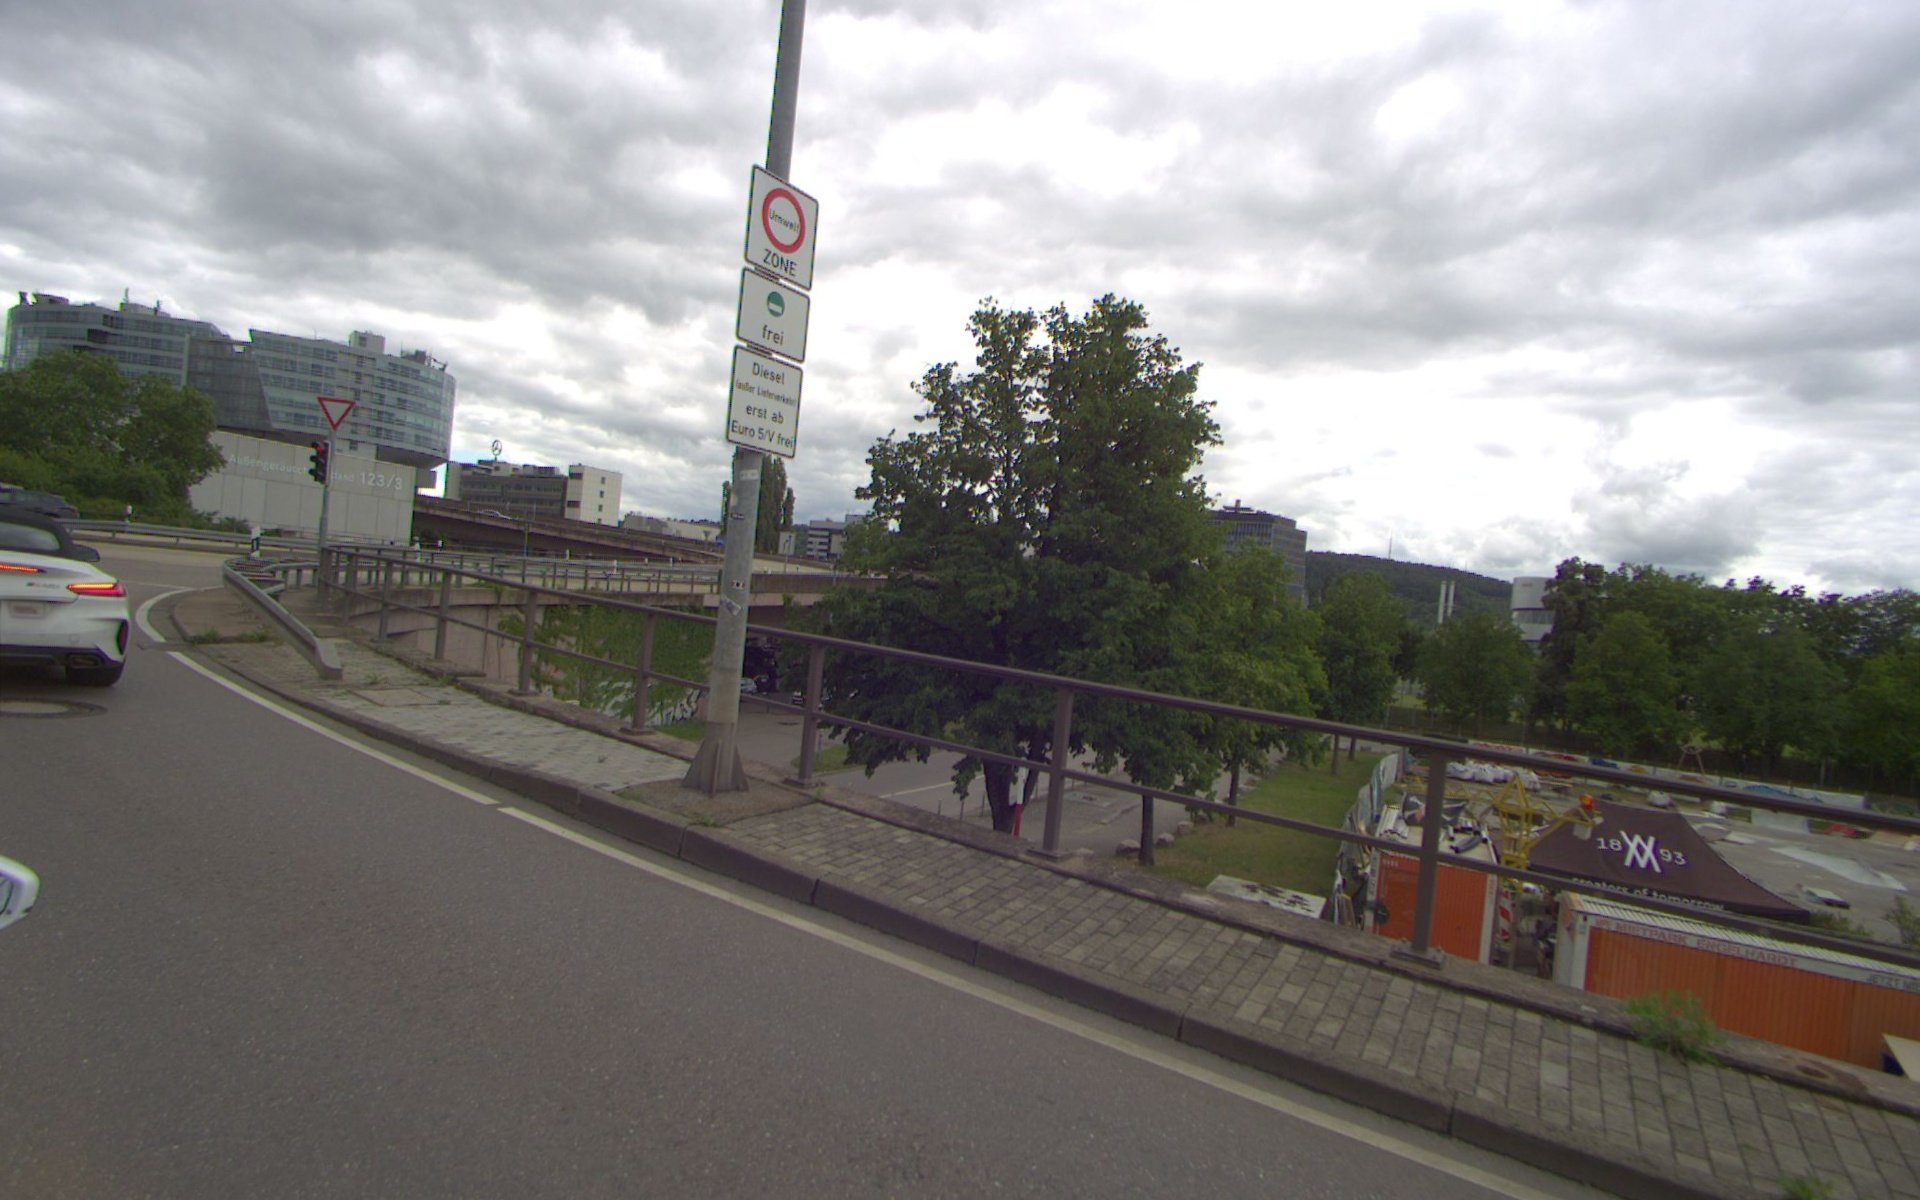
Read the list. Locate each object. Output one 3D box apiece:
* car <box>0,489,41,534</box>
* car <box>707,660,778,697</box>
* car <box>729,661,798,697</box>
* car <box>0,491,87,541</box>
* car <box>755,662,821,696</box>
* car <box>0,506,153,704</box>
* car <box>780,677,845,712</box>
[{"bbox_3d":[-38.873,-3.711,38.749,1.922,1.590,4.687,8,0,30],"label":"car"},{"bbox_3d":[-13.524,4.856,62.544,3.791,1.658,1.826,7,1,18],"label":"car"},{"bbox_3d":[-12.627,5.036,64.581,3.791,1.658,1.826,7,1,18],"label":"car"},{"bbox_3d":[-35.365,-3.266,36.875,1.921,1.475,4.617,8,0,27],"label":"car"},{"bbox_3d":[-11.451,5.213,67.000,3.791,1.638,1.826,7,1,18],"label":"car"},{"bbox_3d":[-8.273,-0.157,8.089,4.200,1.306,1.805,7,-1,38],"label":"car"},{"bbox_3d":[-8.434,5.420,57.998,1.793,1.553,3.997,7,1,22],"label":"car"}]
